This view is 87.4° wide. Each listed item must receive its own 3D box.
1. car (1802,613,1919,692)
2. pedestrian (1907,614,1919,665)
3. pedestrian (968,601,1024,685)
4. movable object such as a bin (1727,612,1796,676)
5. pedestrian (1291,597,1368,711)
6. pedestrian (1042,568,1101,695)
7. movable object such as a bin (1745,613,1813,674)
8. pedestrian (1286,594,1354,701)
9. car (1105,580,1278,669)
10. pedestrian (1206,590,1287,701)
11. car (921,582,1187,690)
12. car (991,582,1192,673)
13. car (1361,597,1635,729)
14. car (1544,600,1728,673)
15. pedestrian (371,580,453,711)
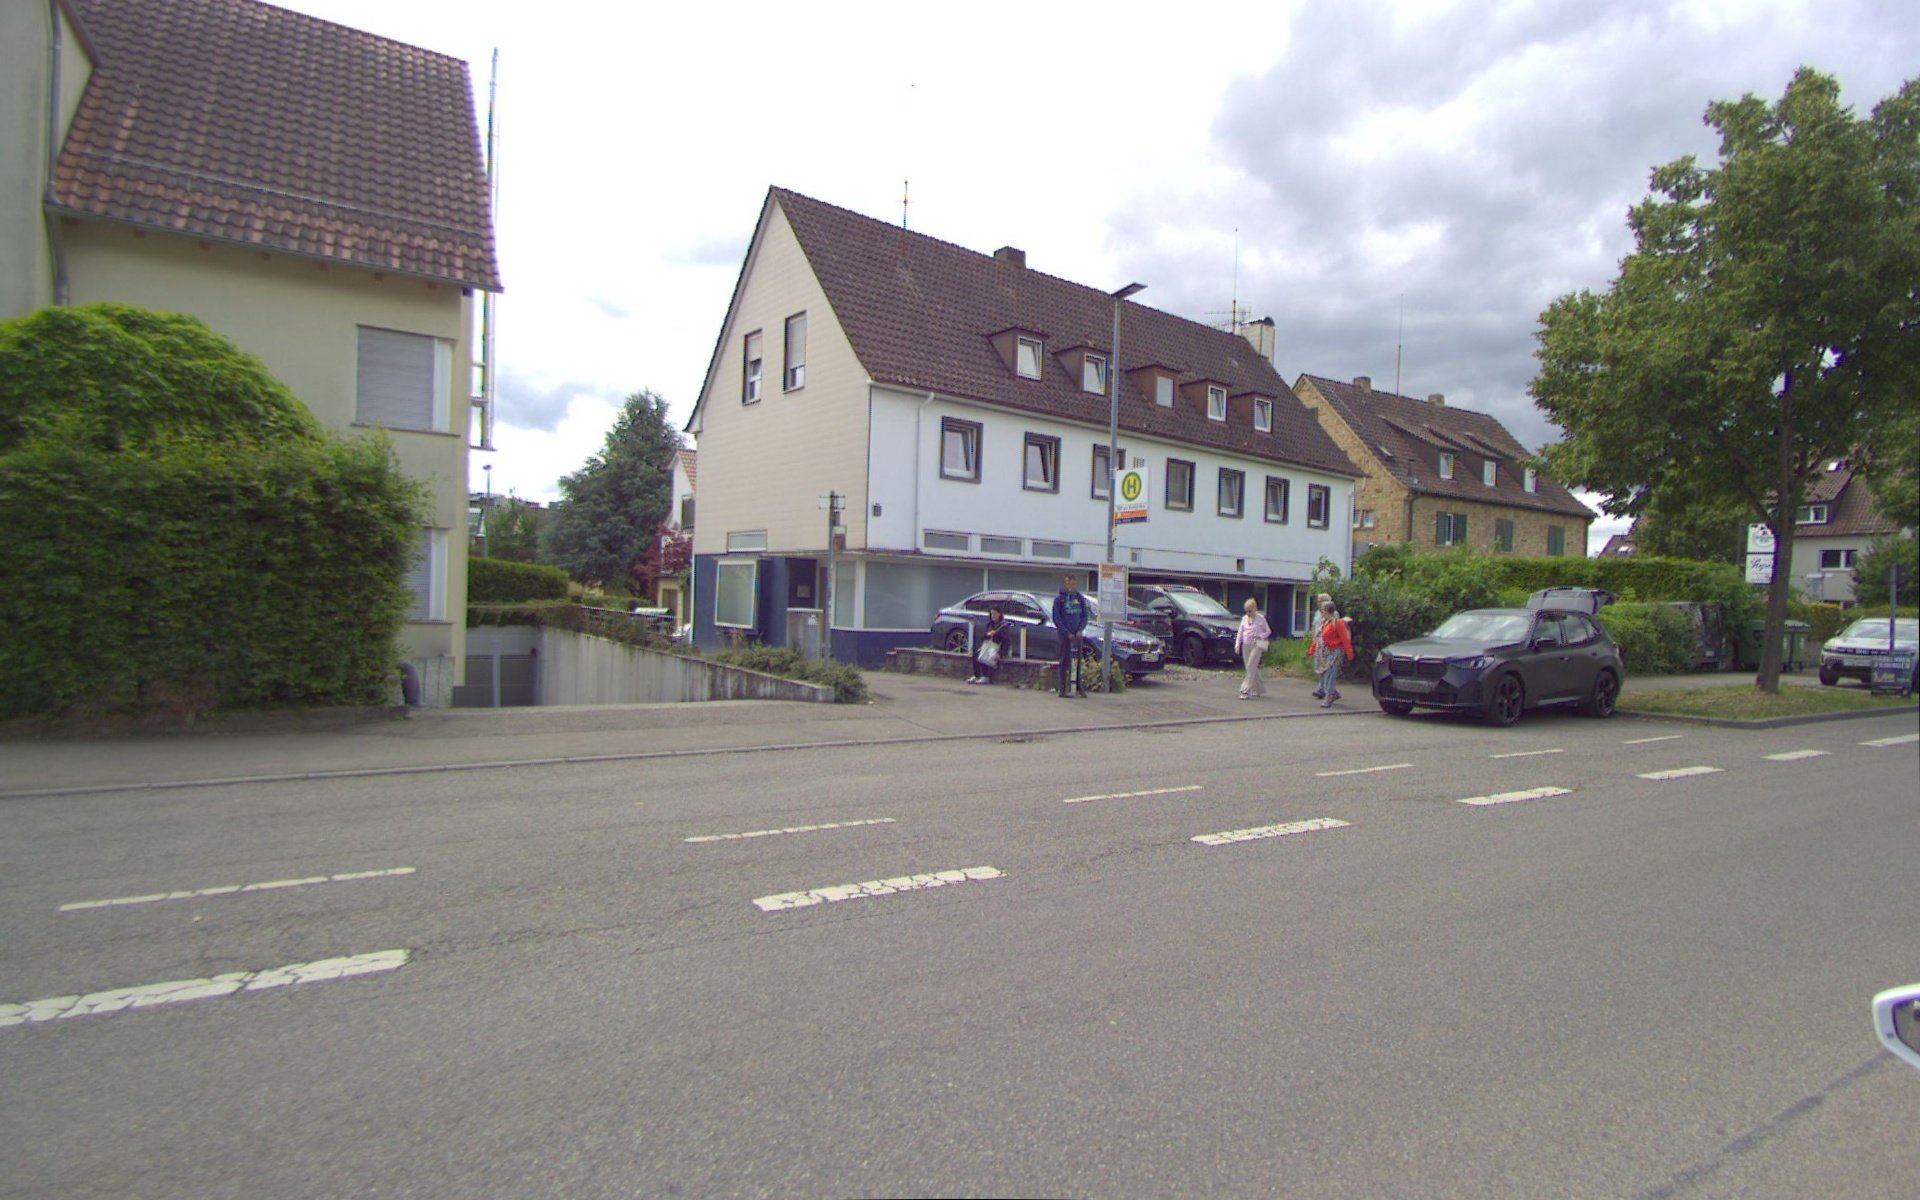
[{"bbox_3d":[22.122,1.216,23.963,4.246,1.676,1.851,2,0,-32],"label":"car"},{"bbox_3d":[34.857,1.429,36.438,0.551,1.808,0.541,1,0,20],"label":"pedestrian"},{"bbox_3d":[0.581,0.685,16.338,0.697,1.330,0.585,1,0,-30],"label":"pedestrian"},{"bbox_3d":[22.589,1.228,28.317,0.987,1.673,1.198,2,2,-33],"label":"movable object such as a bin"},{"bbox_3d":[5.763,0.817,15.681,0.747,1.686,0.781,1,2,-37],"label":"pedestrian"},{"bbox_3d":[1.642,0.456,14.762,0.664,1.830,0.501,1,0,-31],"label":"pedestrian"},{"bbox_3d":[23.914,1.267,29.342,0.987,1.673,1.198,2,2,-33],"label":"movable object such as a bin"},{"bbox_3d":[5.989,0.772,16.729,0.586,1.686,0.781,1,3,-37],"label":"pedestrian"},{"bbox_3d":[4.943,0.458,22.031,1.841,1.714,3.982,-2,1,-20],"label":"car"},{"bbox_3d":[4.627,0.722,16.233,0.873,1.686,0.781,1,4,-37],"label":"pedestrian"},{"bbox_3d":[1.595,0.567,18.148,4.463,1.574,2.025,3,1,43],"label":"car"},{"bbox_3d":[2.568,0.490,20.403,1.774,1.502,3.958,1,3,-36],"label":"car"},{"bbox_3d":[8.339,0.890,15.443,4.515,1.748,1.714,2,0,-33],"label":"car"},{"bbox_3d":[19.456,0.992,29.068,1.977,1.917,3.968,1,0,-30],"label":"car"},{"bbox_3d":[-6.845,0.560,12.583,0.825,1.581,0.668,1,0,-25],"label":"pedestrian"}]
